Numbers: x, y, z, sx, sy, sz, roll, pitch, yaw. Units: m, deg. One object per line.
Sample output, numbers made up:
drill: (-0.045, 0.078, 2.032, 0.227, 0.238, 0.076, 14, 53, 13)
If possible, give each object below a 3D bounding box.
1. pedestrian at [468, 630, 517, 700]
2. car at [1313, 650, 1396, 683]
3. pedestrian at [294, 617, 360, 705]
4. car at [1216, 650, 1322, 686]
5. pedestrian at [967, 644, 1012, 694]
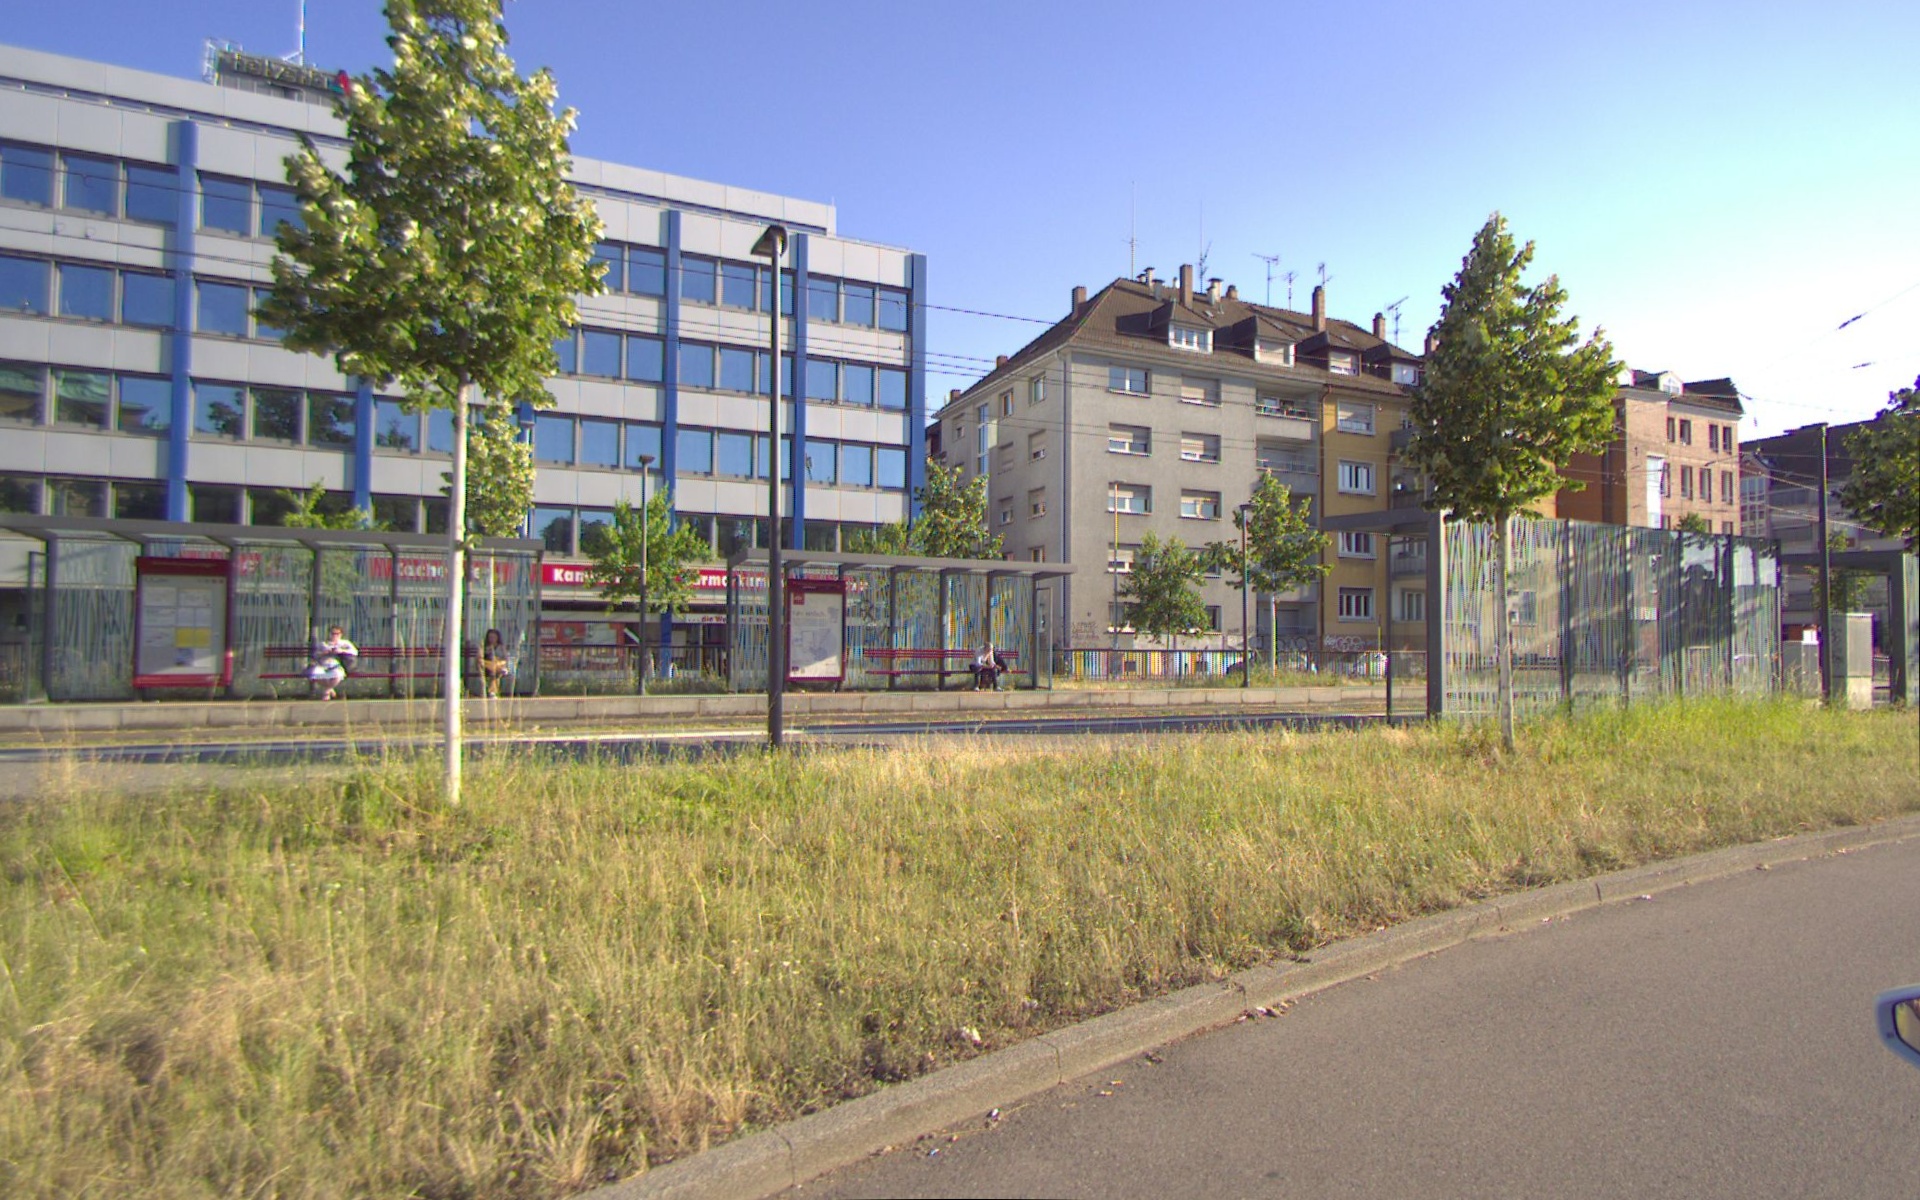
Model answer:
pedestrian: (-8.357, 1.152, 17.992, 0.754, 1.212, 0.931, 1, -3, -25)
car: (18.609, 3.122, 47.335, 3.505, 1.505, 1.742, 1, -2, -25)
pedestrian: (-10.666, 1.016, 16.947, 0.793, 1.429, 0.836, 1, -3, -25)
car: (13.867, 3.014, 45.026, 4.372, 1.527, 1.988, 2, -3, -25)
pedestrian: (0.643, 1.493, 21.793, 0.783, 1.060, 0.625, 1, -3, -25)
